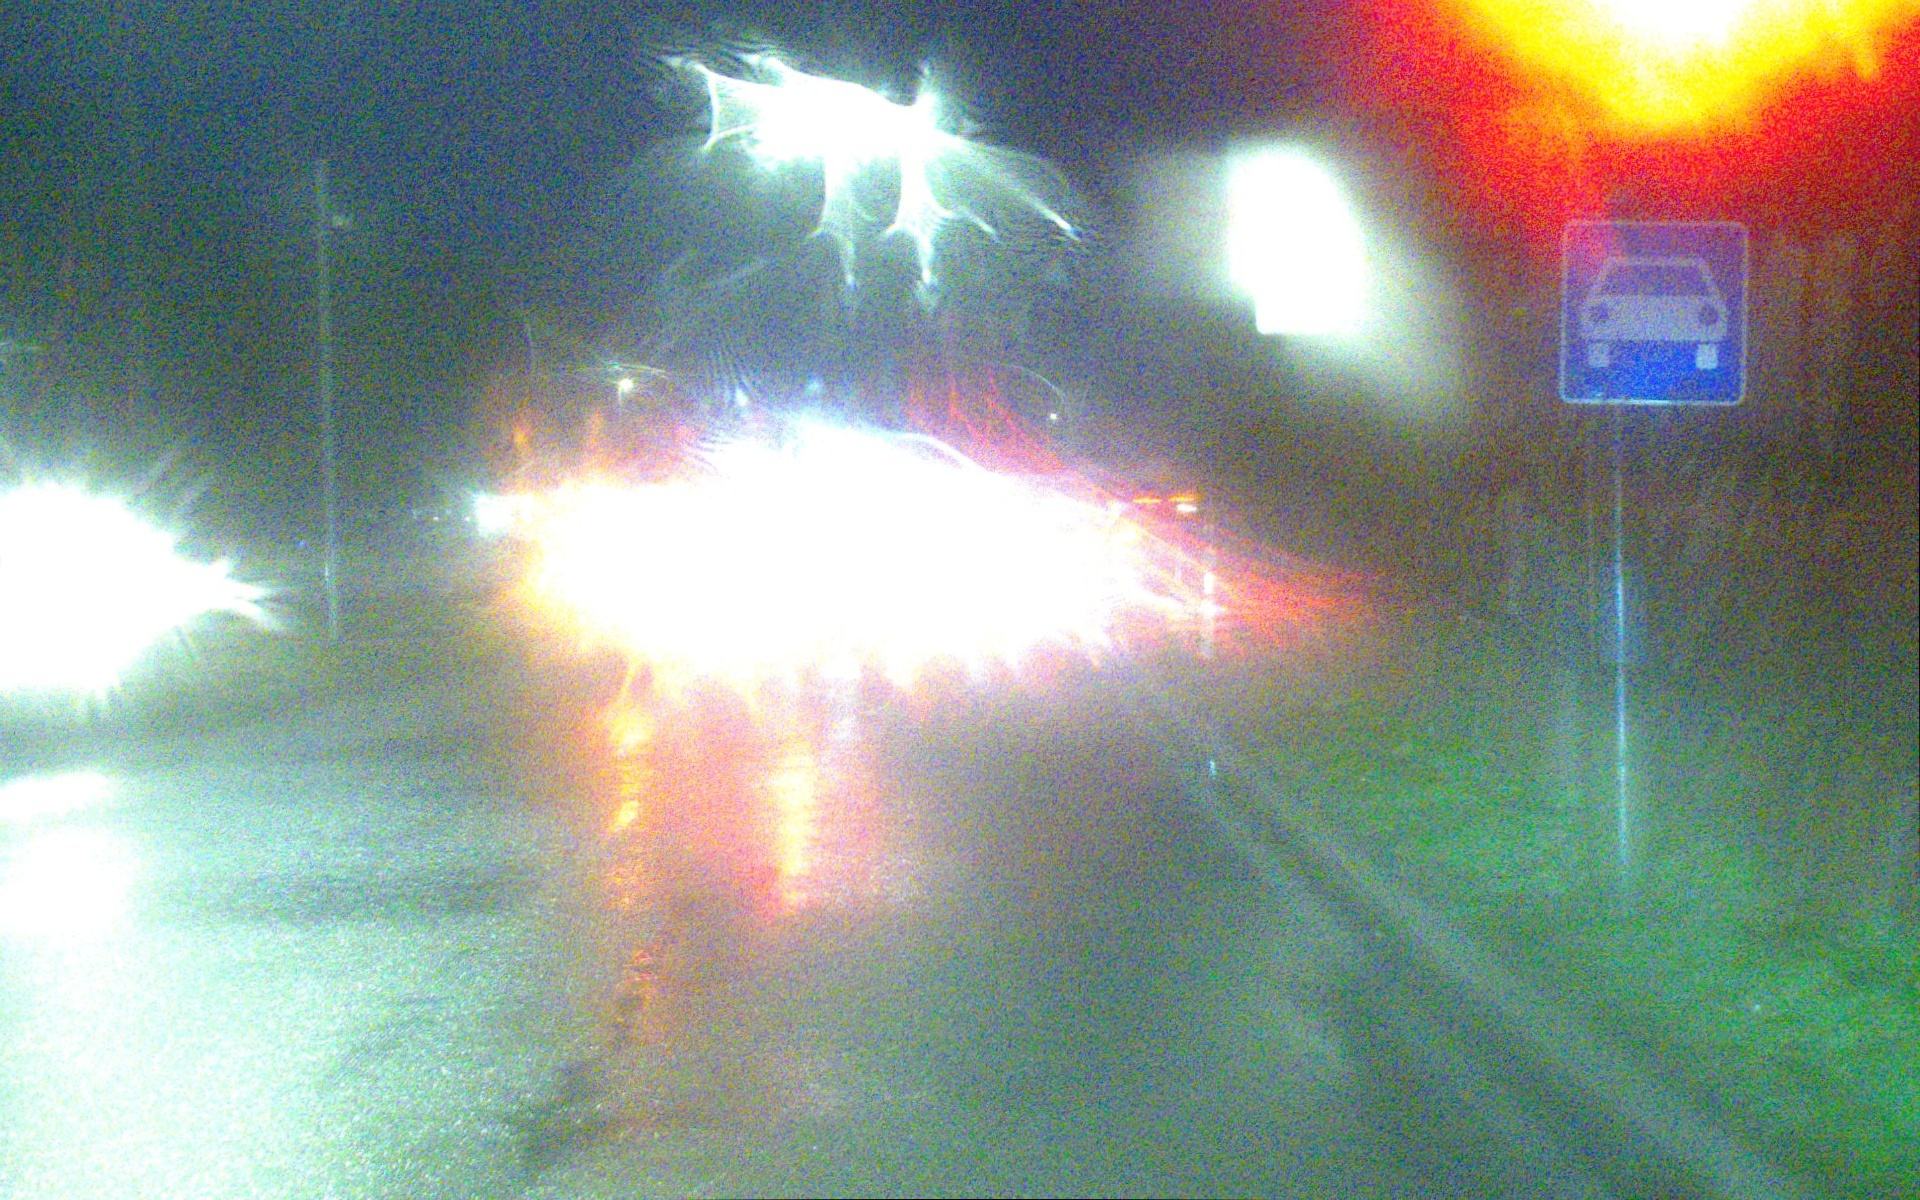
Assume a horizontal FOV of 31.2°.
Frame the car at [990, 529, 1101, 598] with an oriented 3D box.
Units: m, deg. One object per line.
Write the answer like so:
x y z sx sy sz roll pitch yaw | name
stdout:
1.693 -0.724 69.276 2.107 1.335 4.294 0 0 0 | car

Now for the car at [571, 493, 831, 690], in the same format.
-2.192 -0.085 30.126 1.993 1.605 4.103 0 0 0 | car

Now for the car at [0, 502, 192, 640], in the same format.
-10.166 -0.332 39.692 1.585 1.520 3.651 0 0 4 | car

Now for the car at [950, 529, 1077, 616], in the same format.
0.881 -0.466 59.175 2.103 1.434 4.000 0 0 0 | car
